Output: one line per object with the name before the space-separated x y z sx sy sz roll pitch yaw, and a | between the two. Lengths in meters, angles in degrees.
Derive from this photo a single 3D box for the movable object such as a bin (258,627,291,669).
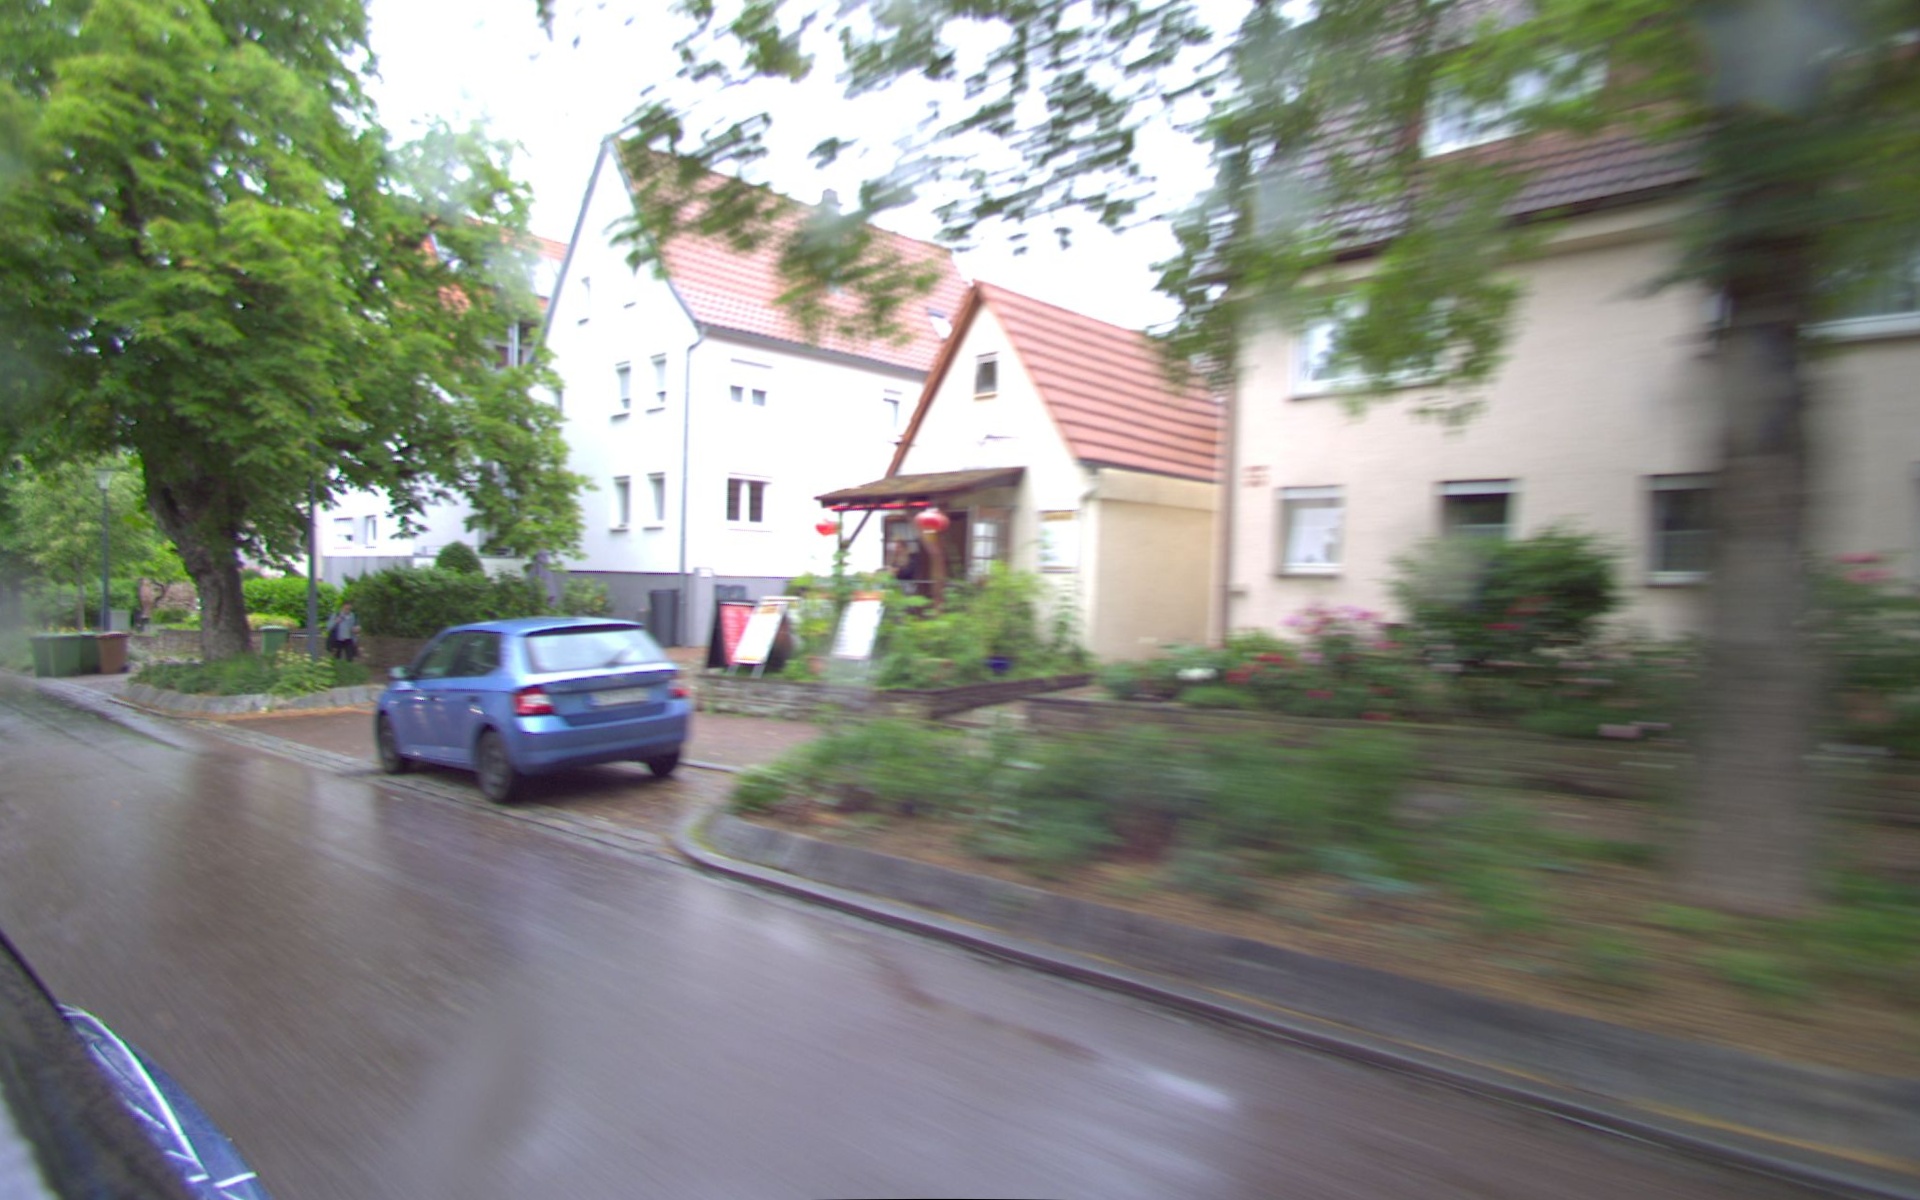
movable object such as a bin | -19.516 1.362 28.807 0.659 1.141 0.655 -1 -1 43

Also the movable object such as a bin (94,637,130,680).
movable object such as a bin | -21.678 1.484 25.865 0.655 1.082 0.596 1 -1 -45

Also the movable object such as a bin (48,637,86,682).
movable object such as a bin | -22.349 1.486 25.322 0.655 1.075 0.596 1 -1 -45

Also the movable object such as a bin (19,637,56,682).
movable object such as a bin | -23.184 1.484 25.432 0.655 1.082 0.596 1 -1 -45

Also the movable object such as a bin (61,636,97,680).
movable object such as a bin | -22.638 1.481 25.997 0.655 1.082 0.596 1 -1 -45

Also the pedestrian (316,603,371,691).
pedestrian | -11.680 0.868 19.165 0.932 1.606 0.643 -1 -1 41

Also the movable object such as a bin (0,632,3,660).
movable object such as a bin | -37.789 1.813 39.454 0.568 1.067 0.611 -1 1 40

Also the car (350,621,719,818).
car | -4.045 0.916 9.337 3.795 1.406 1.730 -1 -1 43

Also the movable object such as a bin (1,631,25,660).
movable object such as a bin | -37.384 1.791 39.956 0.560 1.067 0.611 -1 1 40
